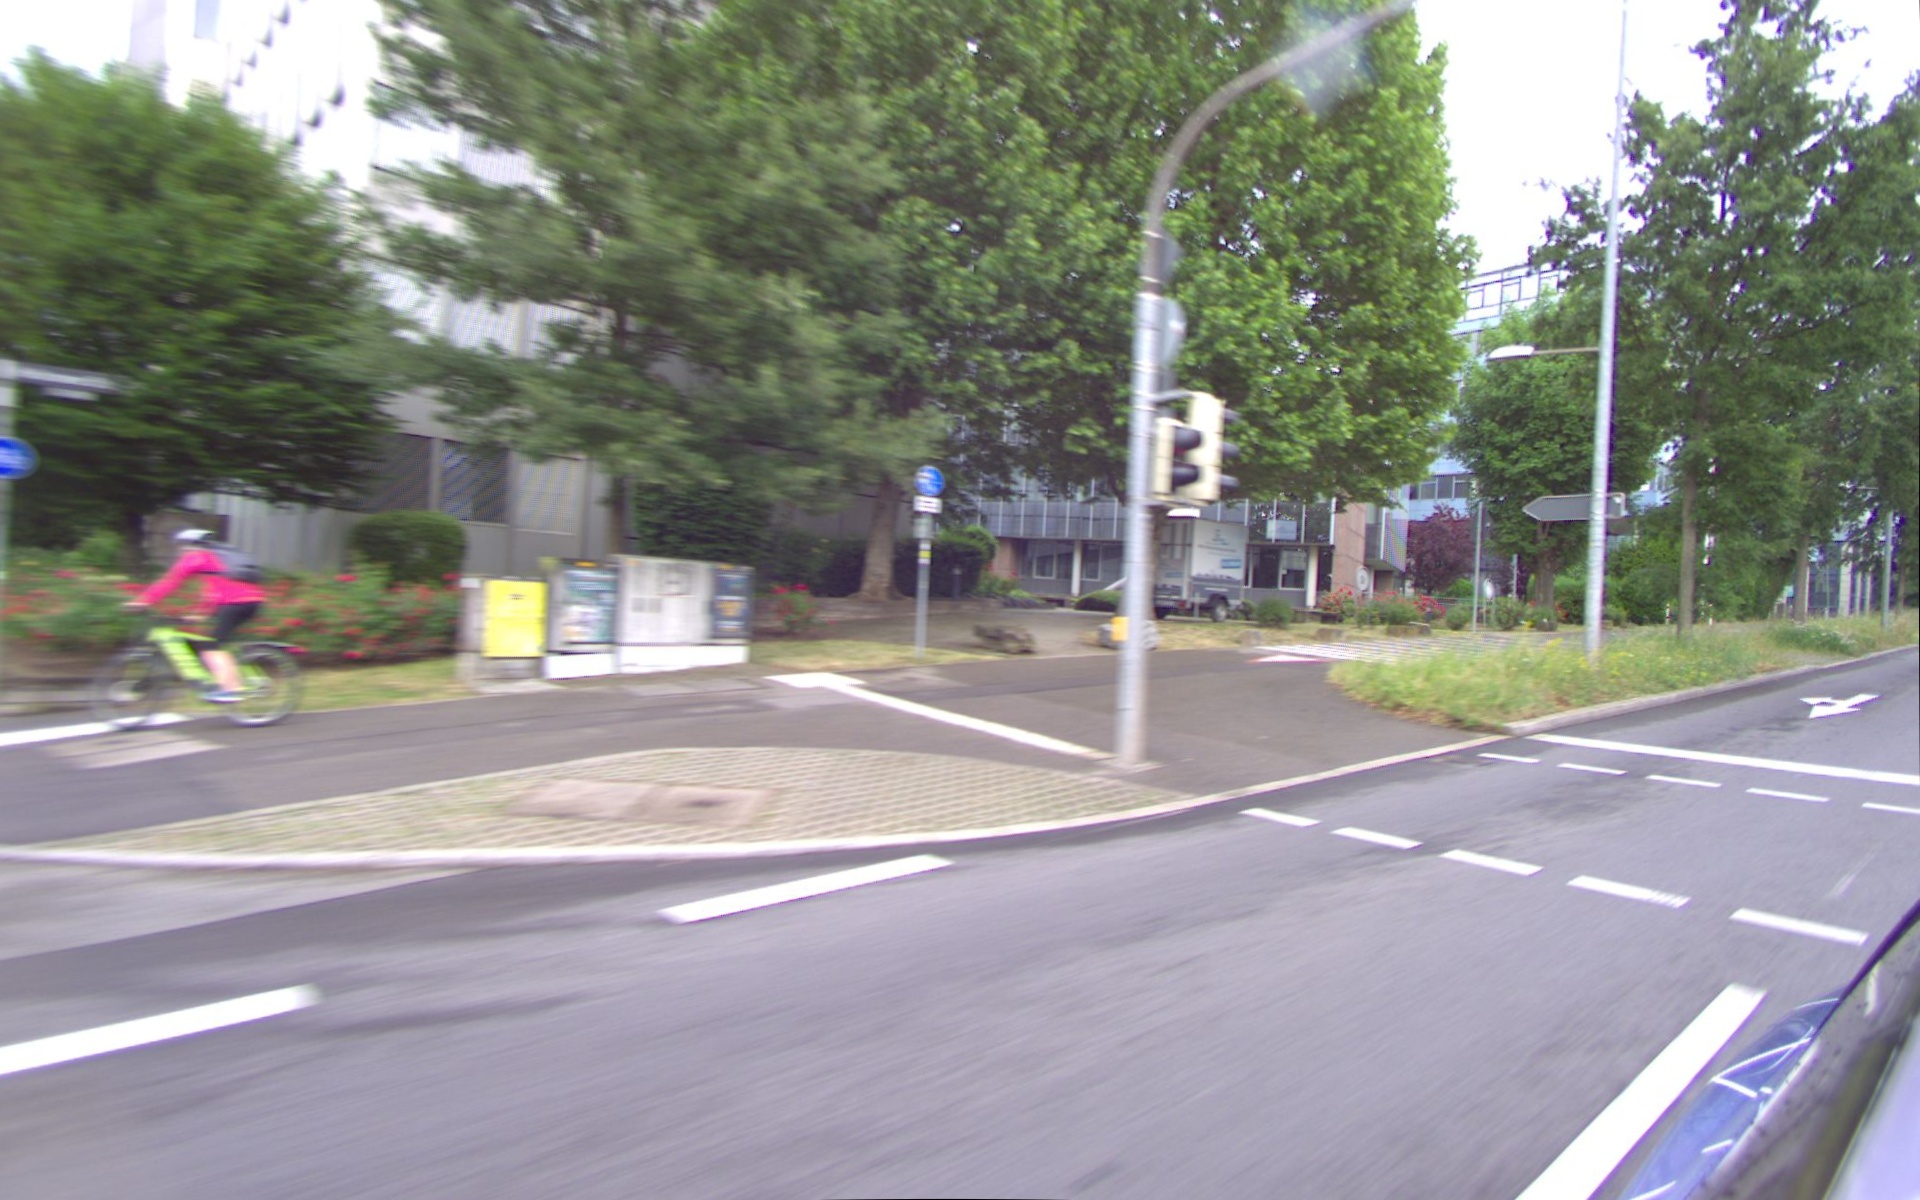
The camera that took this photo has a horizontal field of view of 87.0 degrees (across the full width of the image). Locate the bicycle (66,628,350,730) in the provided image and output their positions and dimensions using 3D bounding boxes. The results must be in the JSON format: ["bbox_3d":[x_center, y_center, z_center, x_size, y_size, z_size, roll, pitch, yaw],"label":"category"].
[{"bbox_3d":[-6.662,0.675,8.987,2.281,0.819,0.667,0,0,11],"label":"bicycle"}]

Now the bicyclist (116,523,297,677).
[{"bbox_3d":[-6.685,0.000,9.002,1.200,1.304,0.655,0,-1,11],"label":"bicyclist"}]

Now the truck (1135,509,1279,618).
[{"bbox_3d":[6.310,-0.859,25.648,3.934,2.549,1.747,0,0,-44],"label":"truck"}]
